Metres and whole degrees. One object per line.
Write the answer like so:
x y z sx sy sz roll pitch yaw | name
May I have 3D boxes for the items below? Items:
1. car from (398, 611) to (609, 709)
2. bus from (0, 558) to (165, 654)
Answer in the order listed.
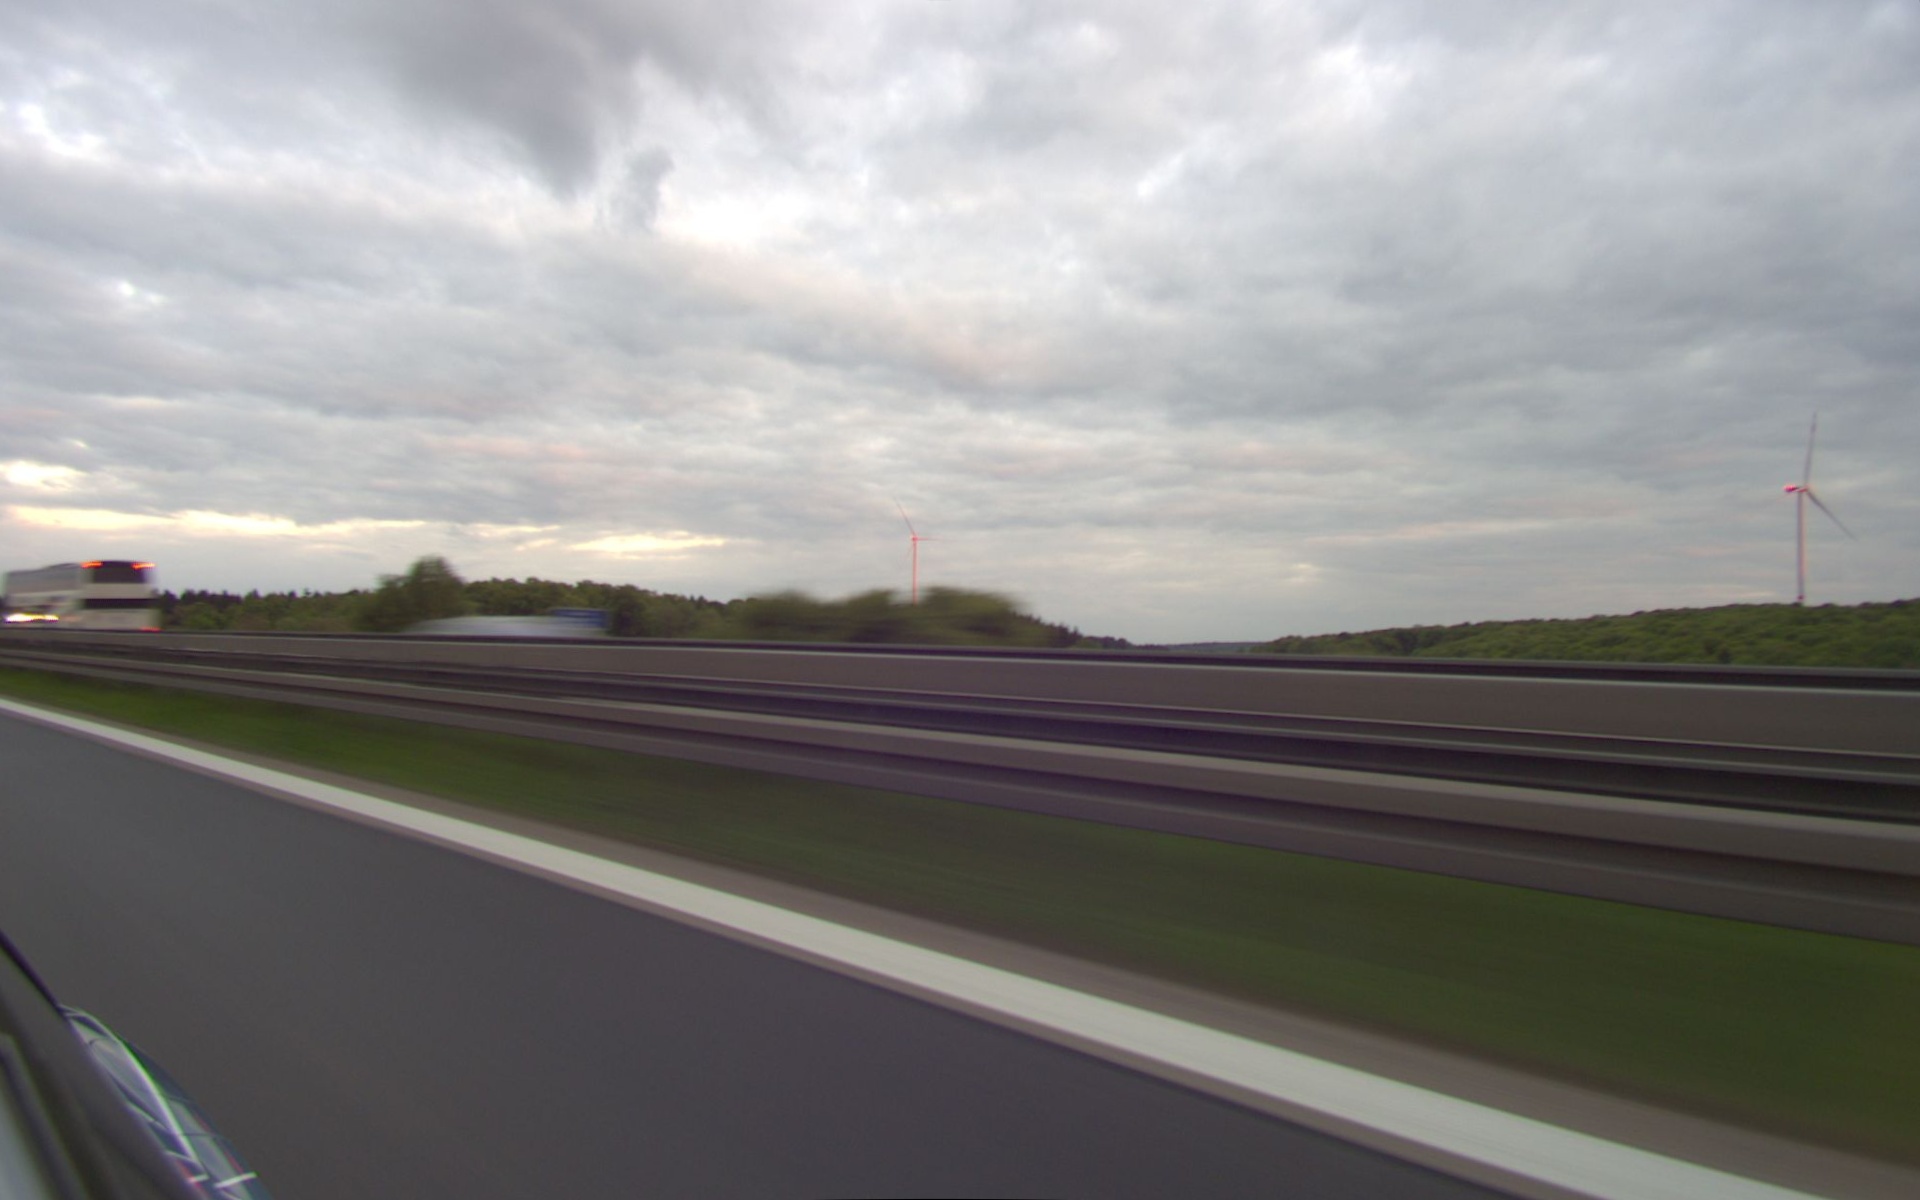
-8.217 0.989 18.076 3.996 1.526 1.847 -1 0 39 | car
-42.640 0.305 48.525 14.779 4.107 3.138 -1 0 36 | bus
